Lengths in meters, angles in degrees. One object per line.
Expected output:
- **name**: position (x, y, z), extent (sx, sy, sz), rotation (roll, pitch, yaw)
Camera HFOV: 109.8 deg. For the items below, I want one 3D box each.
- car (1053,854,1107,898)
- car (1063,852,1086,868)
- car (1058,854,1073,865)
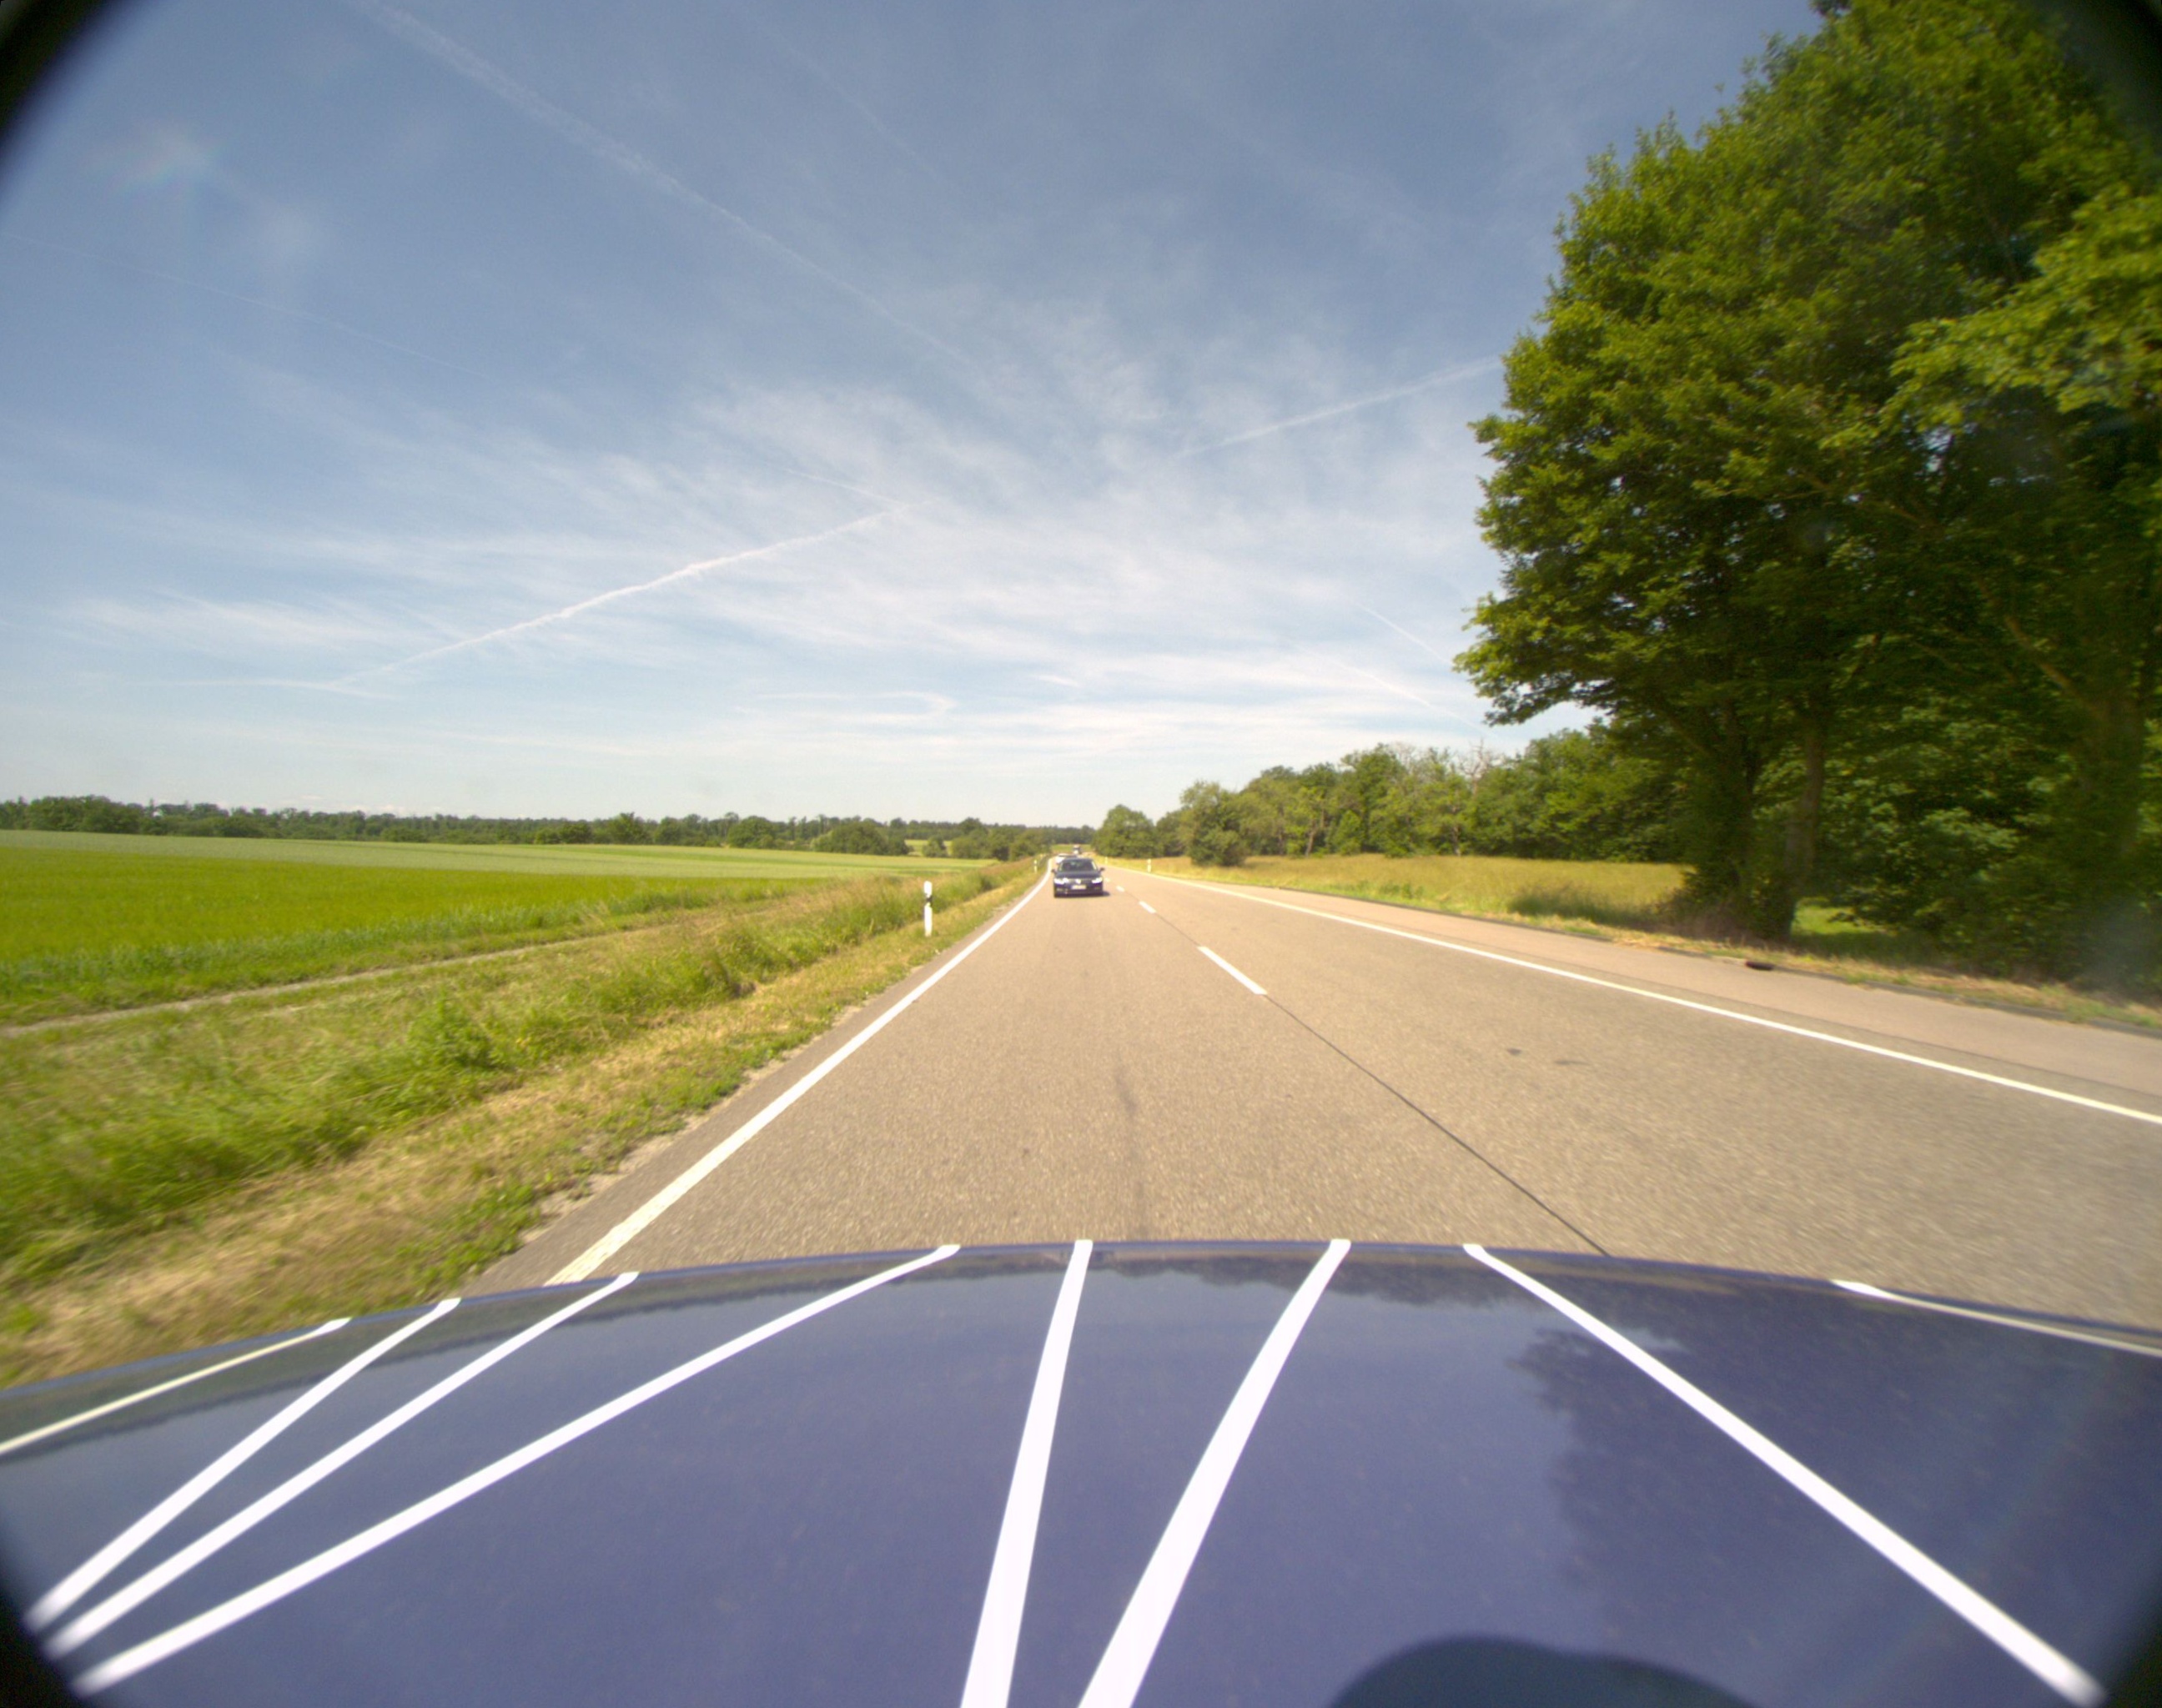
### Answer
- **car**: position (-0.112, 0.793, 29.296), extent (1.822, 1.501, 4.499), rotation (-2, 0, -3)
- **car**: position (-0.680, 0.545, 73.836), extent (1.929, 1.501, 4.290), rotation (-1, 0, -4)
- **car**: position (-2.125, 0.782, 103.928), extent (1.929, 1.501, 4.290), rotation (0, 0, -4)
